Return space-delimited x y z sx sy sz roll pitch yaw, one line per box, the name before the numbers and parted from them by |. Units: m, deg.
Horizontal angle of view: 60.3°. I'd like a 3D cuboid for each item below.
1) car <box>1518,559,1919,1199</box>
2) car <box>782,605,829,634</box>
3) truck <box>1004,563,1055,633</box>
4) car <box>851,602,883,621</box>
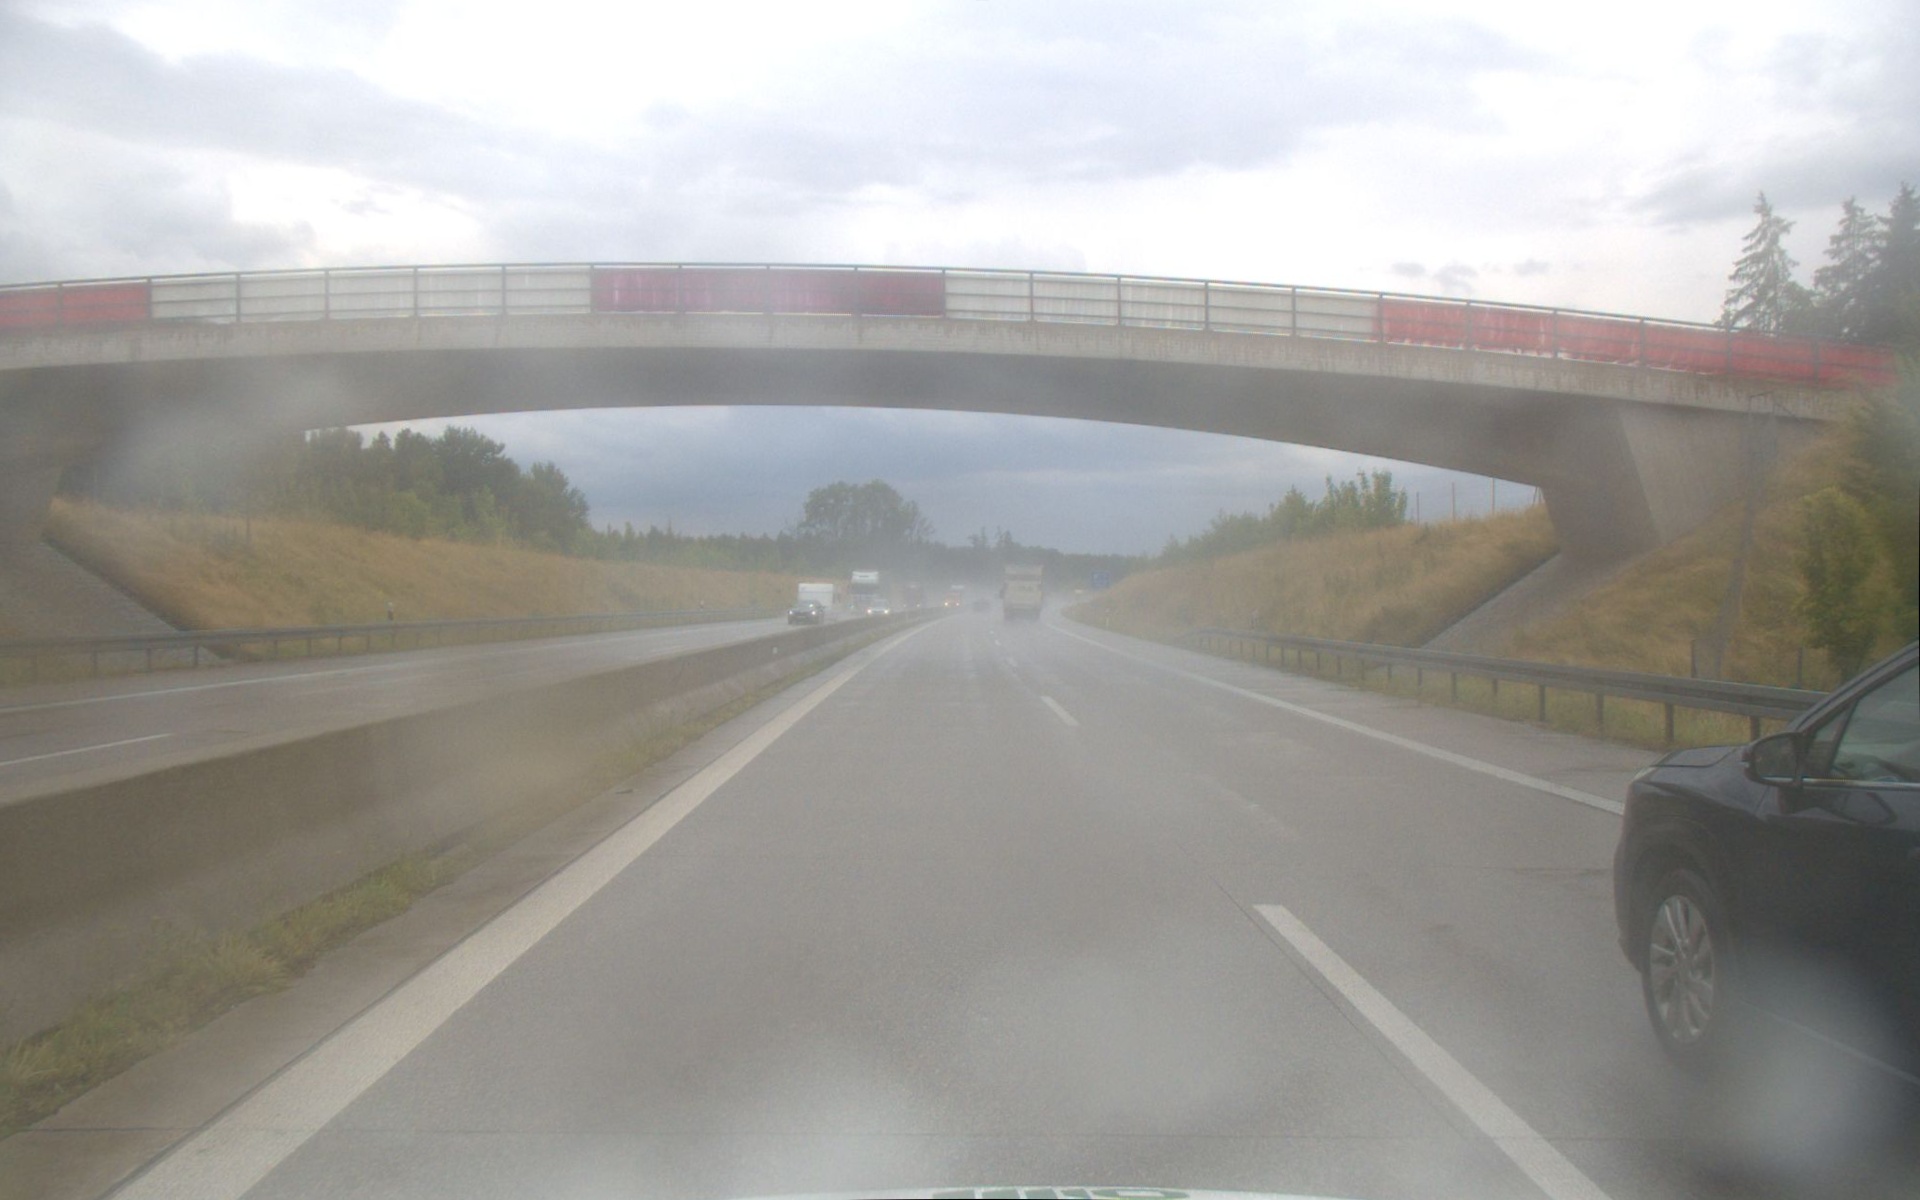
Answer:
car | 3.294 0.709 5.090 1.855 1.603 3.631 1 0 -1
car | -9.376 1.170 100.860 2.239 1.584 5.182 2 0 1
truck | 4.761 -0.188 111.746 3.175 4.514 8.250 0 1 4
car | -6.571 0.805 117.014 1.952 1.334 4.511 0 0 1
